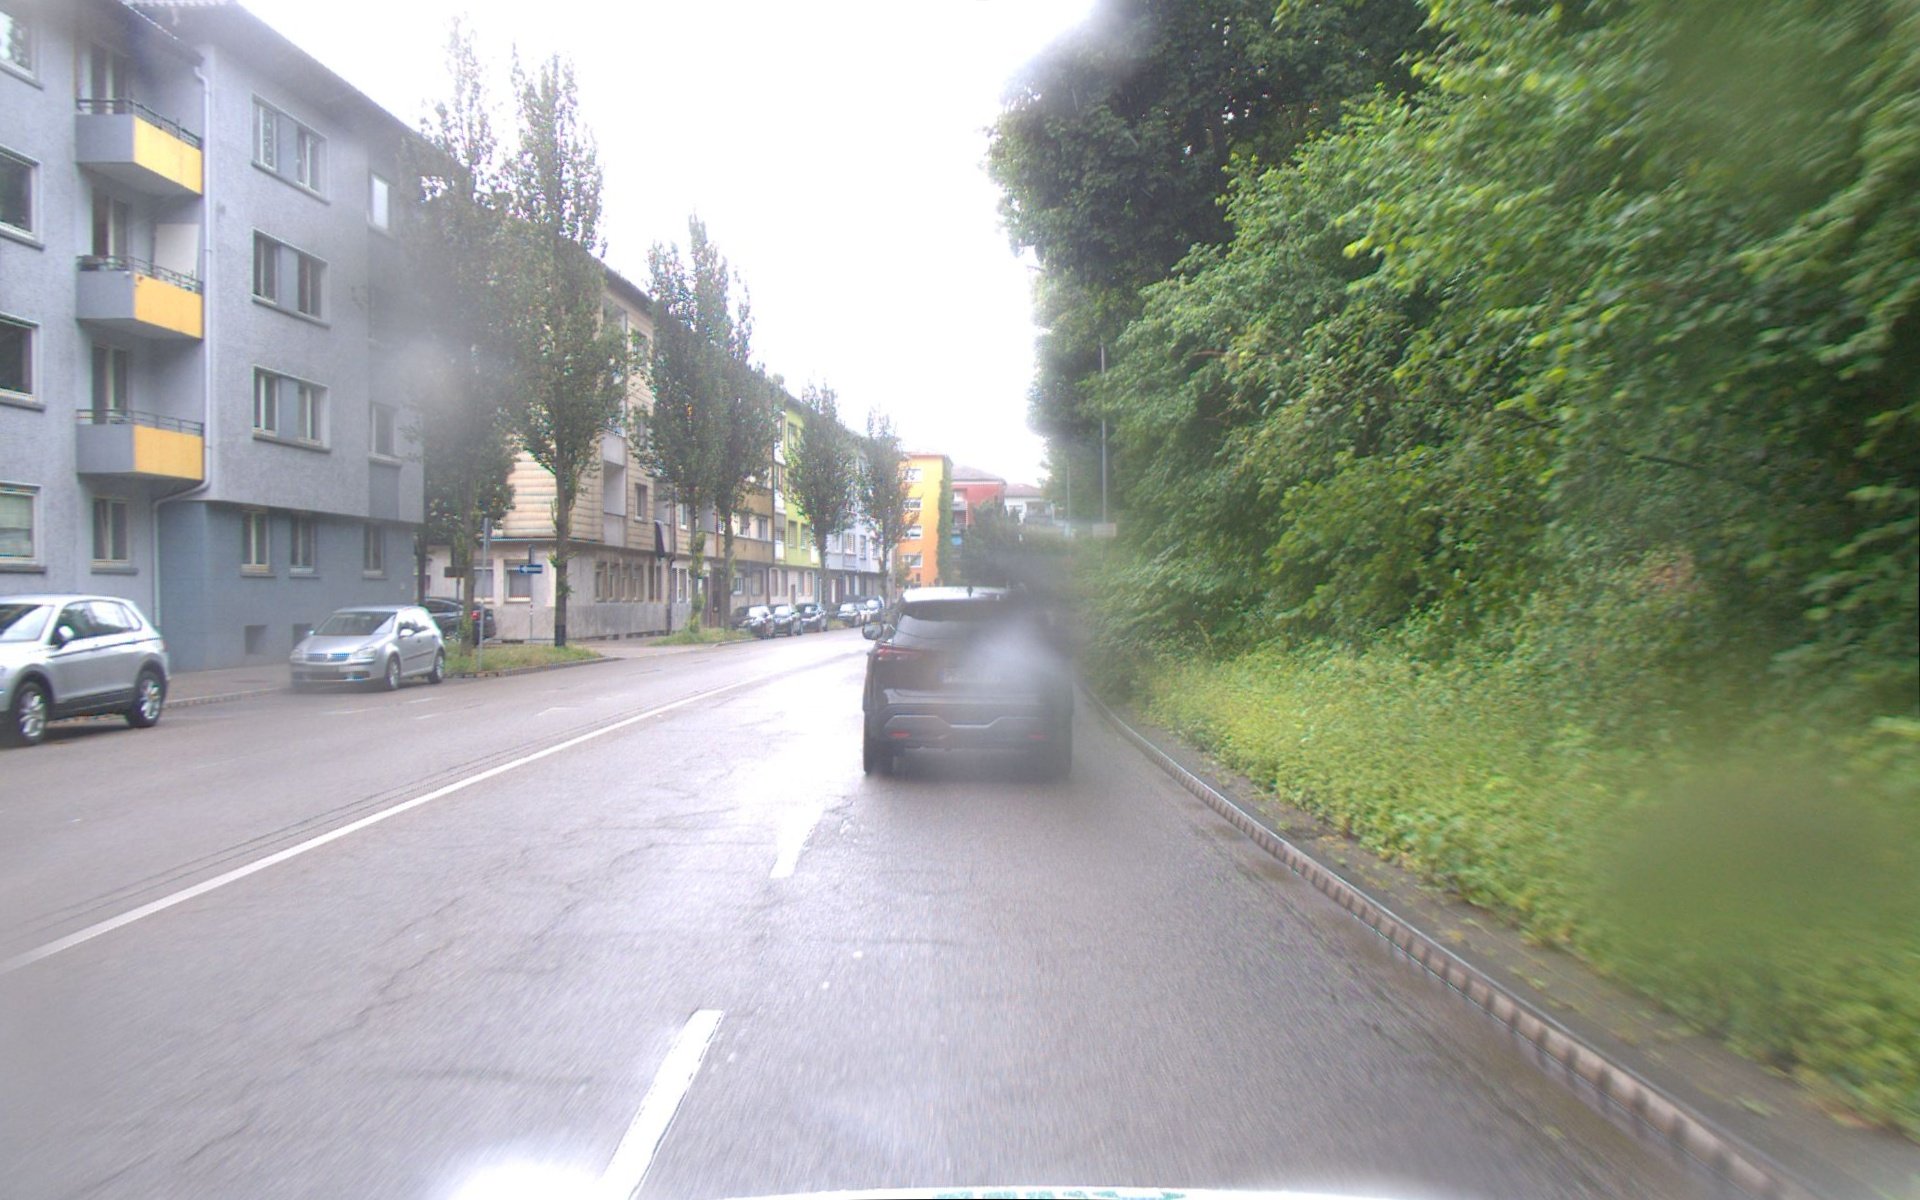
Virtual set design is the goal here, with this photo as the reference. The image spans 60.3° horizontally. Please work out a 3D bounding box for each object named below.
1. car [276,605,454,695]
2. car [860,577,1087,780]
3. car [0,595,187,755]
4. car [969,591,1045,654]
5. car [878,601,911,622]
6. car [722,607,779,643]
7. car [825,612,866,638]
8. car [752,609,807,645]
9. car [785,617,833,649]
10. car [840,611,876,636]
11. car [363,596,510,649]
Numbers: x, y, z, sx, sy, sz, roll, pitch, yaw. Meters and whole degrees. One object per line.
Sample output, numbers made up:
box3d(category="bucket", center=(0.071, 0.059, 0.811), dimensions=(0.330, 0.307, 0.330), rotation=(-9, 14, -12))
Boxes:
box3d(category="car", center=(-10.605, 0.847, 29.803), dimensions=(1.689, 1.478, 4.205), rotation=(-1, 0, -1))
box3d(category="car", center=(0.068, 0.627, 15.359), dimensions=(1.807, 1.610, 3.999), rotation=(1, 0, -1))
box3d(category="car", center=(-10.711, 0.779, 18.855), dimensions=(1.728, 1.632, 4.532), rotation=(-1, 0, -1))
box3d(category="car", center=(1.427, 0.632, 48.407), dimensions=(1.847, 1.741, 4.003), rotation=(0, 0, 7))
box3d(category="car", center=(-4.759, 0.807, 120.857), dimensions=(1.653, 1.381, 4.582), rotation=(-3, 0, 6))
box3d(category="car", center=(-8.801, 1.029, 69.717), dimensions=(1.591, 1.411, 3.990), rotation=(-1, 0, 4))
box3d(category="car", center=(-6.679, 1.444, 96.750), dimensions=(1.779, 1.396, 4.682), rotation=(-2, 0, 3))
box3d(category="car", center=(-8.322, 1.204, 76.497), dimensions=(1.779, 1.515, 4.791), rotation=(-2, 0, 3))
box3d(category="car", center=(-7.751, 1.679, 85.203), dimensions=(1.682, 1.515, 4.517), rotation=(-2, 0, 4))
box3d(category="car", center=(-6.330, 1.462, 103.028), dimensions=(1.644, 1.400, 4.002), rotation=(-2, 0, 5))
box3d(category="car", center=(-16.768, 0.719, 53.133), dimensions=(4.062, 1.606, 1.927), rotation=(-1, 0, 3))
